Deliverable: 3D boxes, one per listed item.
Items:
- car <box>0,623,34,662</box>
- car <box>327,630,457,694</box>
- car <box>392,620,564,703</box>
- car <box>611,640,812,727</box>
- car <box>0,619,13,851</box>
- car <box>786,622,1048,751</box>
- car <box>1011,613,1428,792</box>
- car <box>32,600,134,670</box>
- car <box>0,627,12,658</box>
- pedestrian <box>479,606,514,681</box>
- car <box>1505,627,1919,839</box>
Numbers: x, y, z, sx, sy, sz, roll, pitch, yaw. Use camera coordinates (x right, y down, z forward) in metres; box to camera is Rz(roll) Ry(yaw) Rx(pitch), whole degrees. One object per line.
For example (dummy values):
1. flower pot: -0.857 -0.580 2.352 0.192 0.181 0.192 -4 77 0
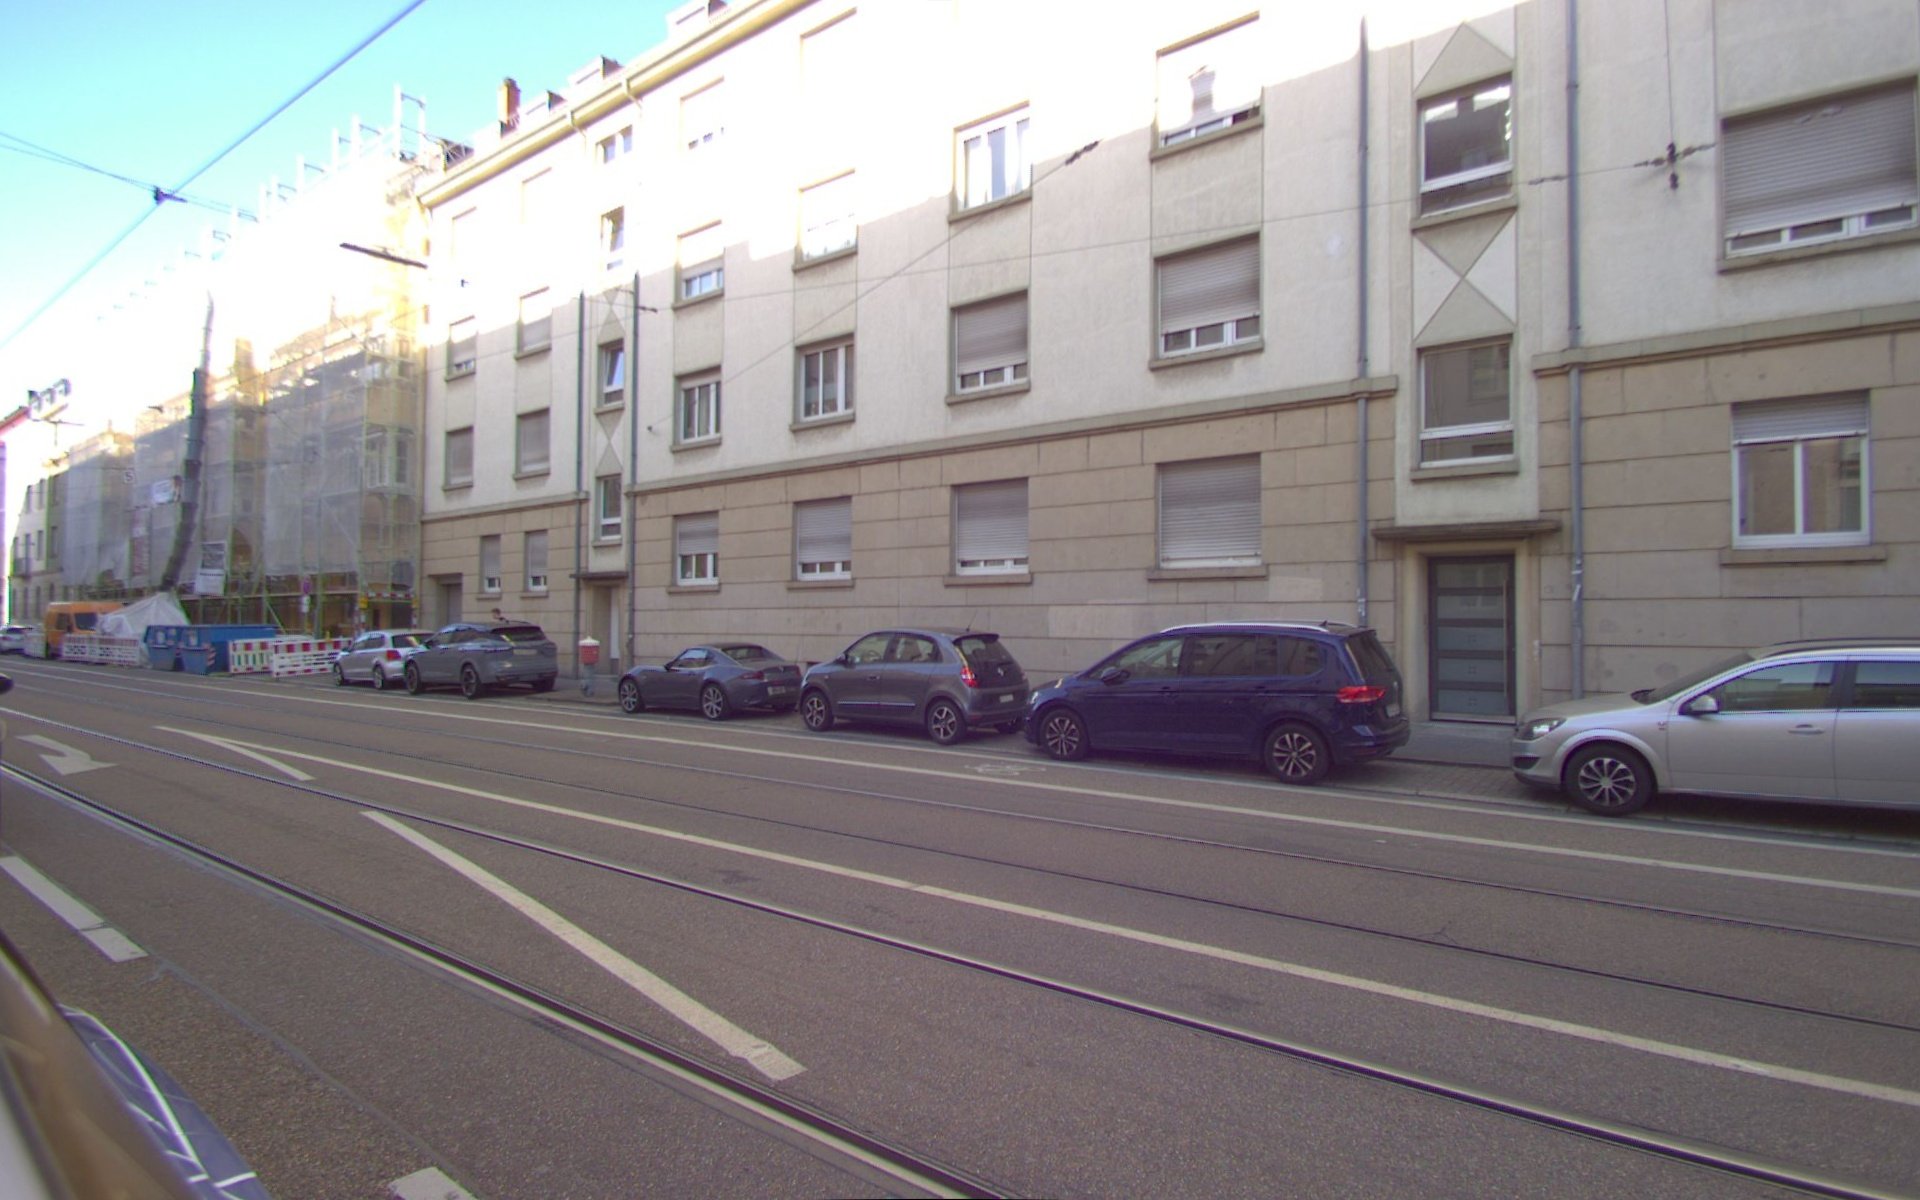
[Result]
1. car: -50.022 2.208 53.350 1.635 1.937 3.767 -1 0 -44
2. car: -14.241 1.503 25.312 3.502 1.390 1.546 -1 1 37
3. car: -10.835 1.304 22.649 4.152 1.621 1.731 -1 1 37
4. car: -4.336 1.369 17.450 3.518 1.229 1.458 -1 1 37
5. car: -7.935 0.881 6.898 3.814 1.436 1.706 -2 -3 40
6. car: -0.685 1.136 14.635 3.591 1.570 1.624 -1 1 38
7. car: 2.880 1.012 11.692 4.318 1.645 1.798 -1 1 37
8. car: -36.452 1.389 41.999 5.866 2.717 2.188 -1 0 39
9. car: -54.729 2.396 56.918 3.932 1.696 1.550 -1 0 39
10. pedestrian: -11.905 1.109 25.999 0.762 1.886 0.513 -1 0 38
11. car: 7.125 1.010 8.418 4.363 1.465 1.709 -1 1 37
